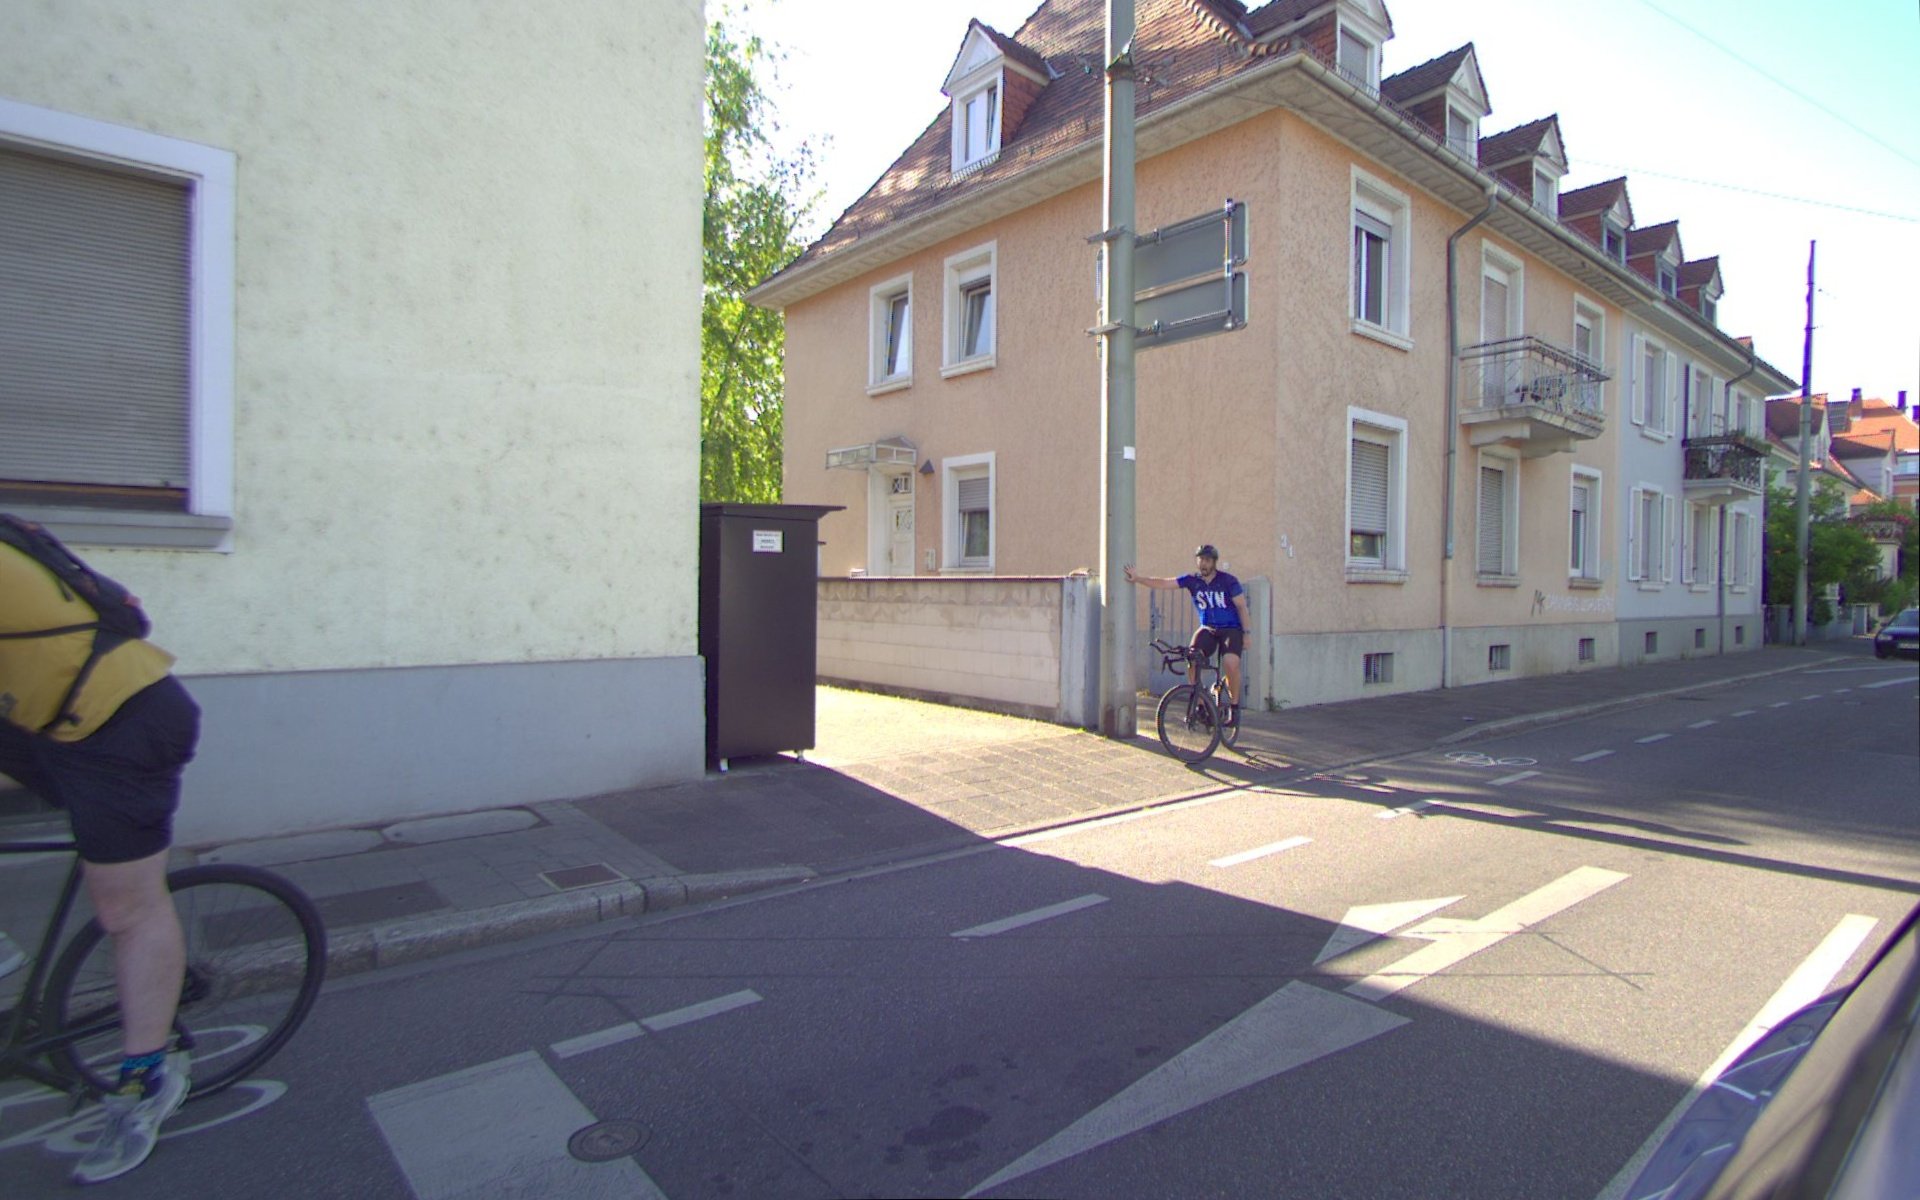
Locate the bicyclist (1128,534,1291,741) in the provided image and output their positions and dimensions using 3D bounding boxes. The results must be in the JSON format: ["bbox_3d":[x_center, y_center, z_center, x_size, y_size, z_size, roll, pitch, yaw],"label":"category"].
[{"bbox_3d":[2.328,0.305,9.509,0.838,1.758,1.072,0,6,-40],"label":"bicyclist"}]

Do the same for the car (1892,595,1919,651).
[{"bbox_3d":[26.649,0.608,27.327,3.932,1.438,1.845,0,1,-42],"label":"car"}]

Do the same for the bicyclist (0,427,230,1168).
[{"bbox_3d":[-2.466,0.460,2.575,0.939,1.743,0.582,0,0,-41],"label":"bicyclist"}]

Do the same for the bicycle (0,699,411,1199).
[{"bbox_3d":[-2.459,0.893,2.579,1.778,1.101,0.611,0,1,-41],"label":"bicycle"}]

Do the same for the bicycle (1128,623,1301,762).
[{"bbox_3d":[2.339,0.790,9.214,1.689,1.064,0.595,0,6,-41],"label":"bicycle"}]
